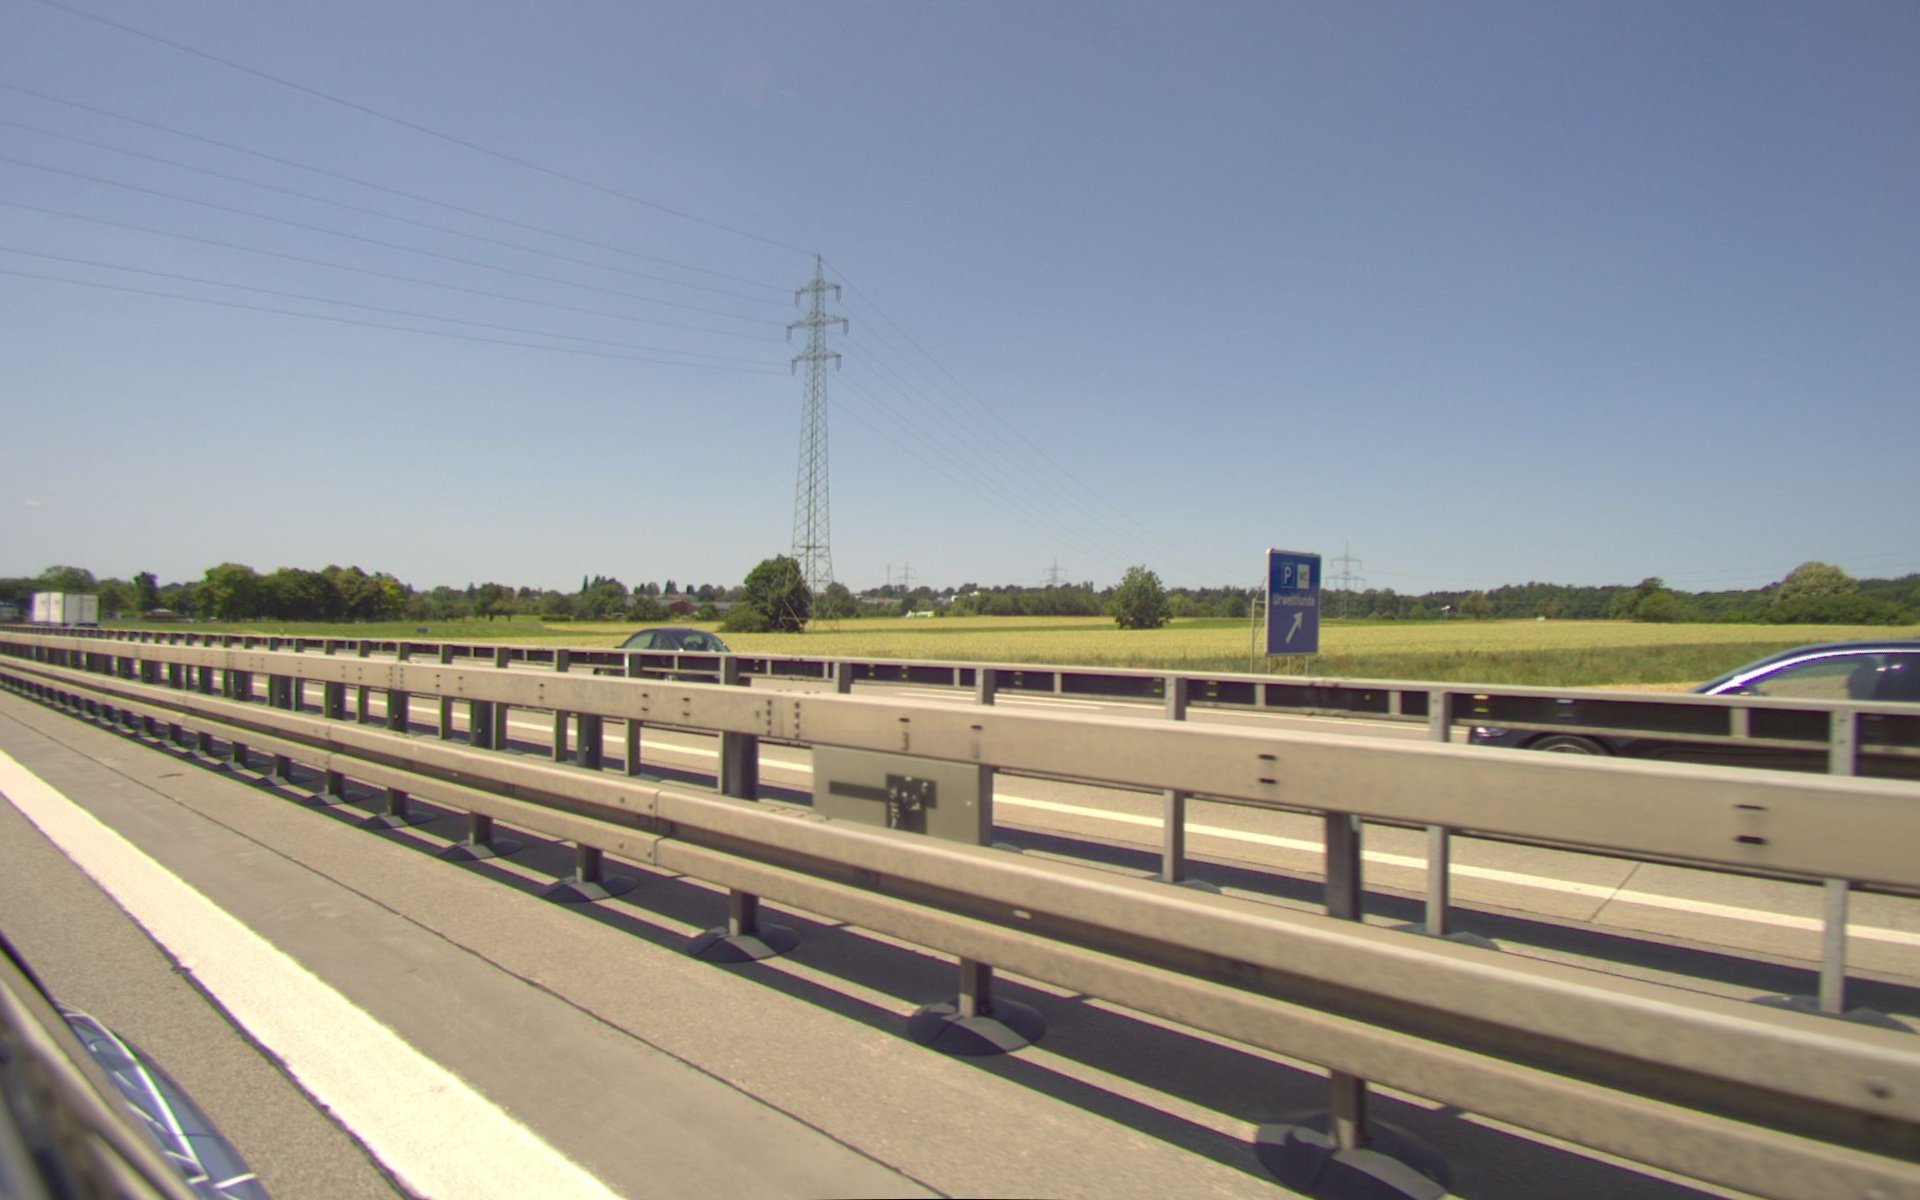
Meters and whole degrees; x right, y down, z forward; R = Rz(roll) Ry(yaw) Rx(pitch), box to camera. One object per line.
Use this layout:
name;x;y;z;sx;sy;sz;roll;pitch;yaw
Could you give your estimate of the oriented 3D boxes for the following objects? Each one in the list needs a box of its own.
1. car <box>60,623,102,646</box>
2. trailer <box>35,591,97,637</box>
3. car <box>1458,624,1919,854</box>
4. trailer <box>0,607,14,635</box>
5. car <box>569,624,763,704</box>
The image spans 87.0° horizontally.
car;-57.571;2.273;66.262;3.606;1.436;1.467;-1;-4;40
trailer;-82.693;1.246;93.525;11.659;4.077;2.803;0;0;41
car;6.690;0.970;7.322;5.279;1.451;1.789;0;-4;40
trailer;-129.585;2.781;135.539;11.346;3.720;2.680;0;0;39
car;-6.218;1.277;21.119;4.563;1.451;1.654;0;-3;41
